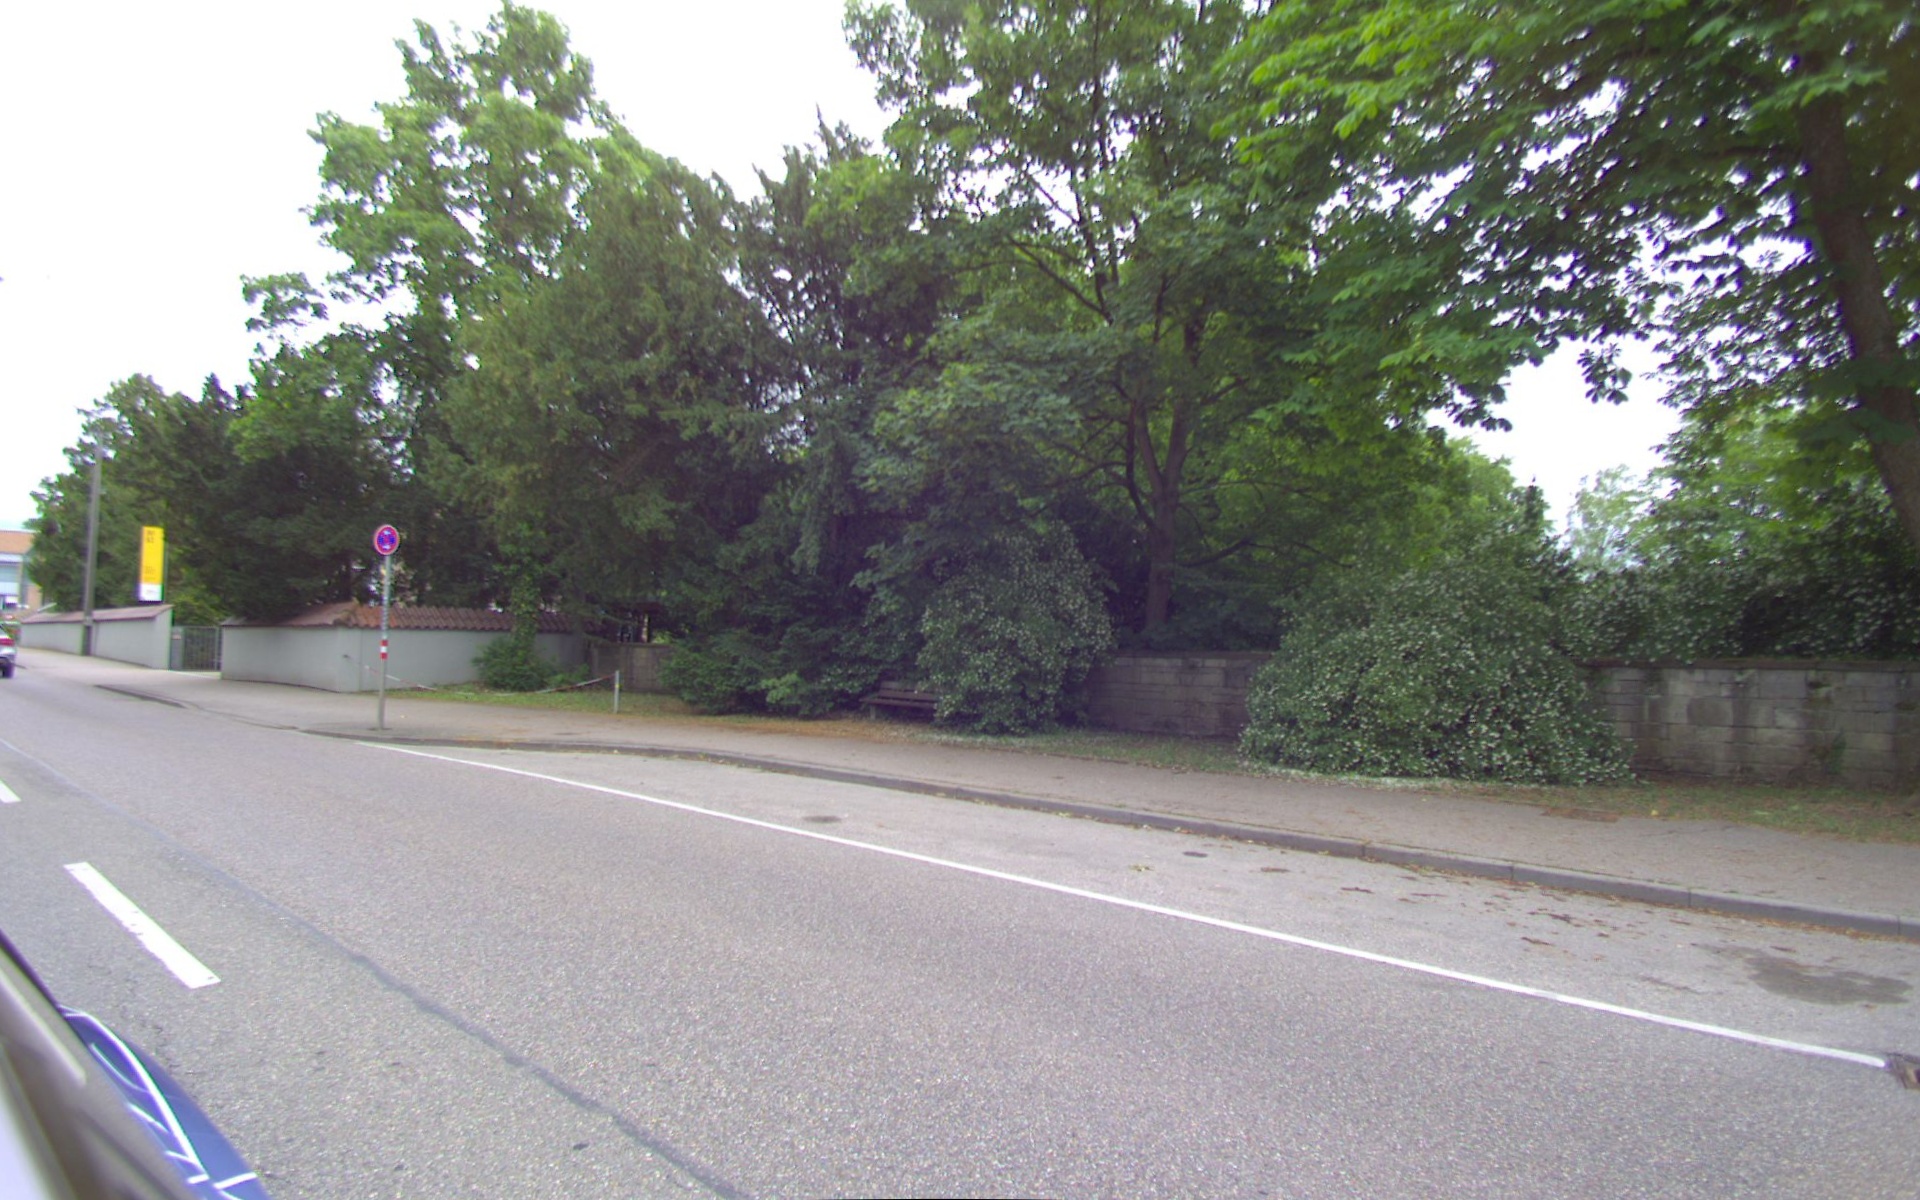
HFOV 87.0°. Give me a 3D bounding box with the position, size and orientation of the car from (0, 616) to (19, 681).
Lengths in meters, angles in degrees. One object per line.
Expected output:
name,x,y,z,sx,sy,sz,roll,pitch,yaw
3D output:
car,-26.908,1.239,27.192,4.117,1.666,1.767,-1,-5,40
